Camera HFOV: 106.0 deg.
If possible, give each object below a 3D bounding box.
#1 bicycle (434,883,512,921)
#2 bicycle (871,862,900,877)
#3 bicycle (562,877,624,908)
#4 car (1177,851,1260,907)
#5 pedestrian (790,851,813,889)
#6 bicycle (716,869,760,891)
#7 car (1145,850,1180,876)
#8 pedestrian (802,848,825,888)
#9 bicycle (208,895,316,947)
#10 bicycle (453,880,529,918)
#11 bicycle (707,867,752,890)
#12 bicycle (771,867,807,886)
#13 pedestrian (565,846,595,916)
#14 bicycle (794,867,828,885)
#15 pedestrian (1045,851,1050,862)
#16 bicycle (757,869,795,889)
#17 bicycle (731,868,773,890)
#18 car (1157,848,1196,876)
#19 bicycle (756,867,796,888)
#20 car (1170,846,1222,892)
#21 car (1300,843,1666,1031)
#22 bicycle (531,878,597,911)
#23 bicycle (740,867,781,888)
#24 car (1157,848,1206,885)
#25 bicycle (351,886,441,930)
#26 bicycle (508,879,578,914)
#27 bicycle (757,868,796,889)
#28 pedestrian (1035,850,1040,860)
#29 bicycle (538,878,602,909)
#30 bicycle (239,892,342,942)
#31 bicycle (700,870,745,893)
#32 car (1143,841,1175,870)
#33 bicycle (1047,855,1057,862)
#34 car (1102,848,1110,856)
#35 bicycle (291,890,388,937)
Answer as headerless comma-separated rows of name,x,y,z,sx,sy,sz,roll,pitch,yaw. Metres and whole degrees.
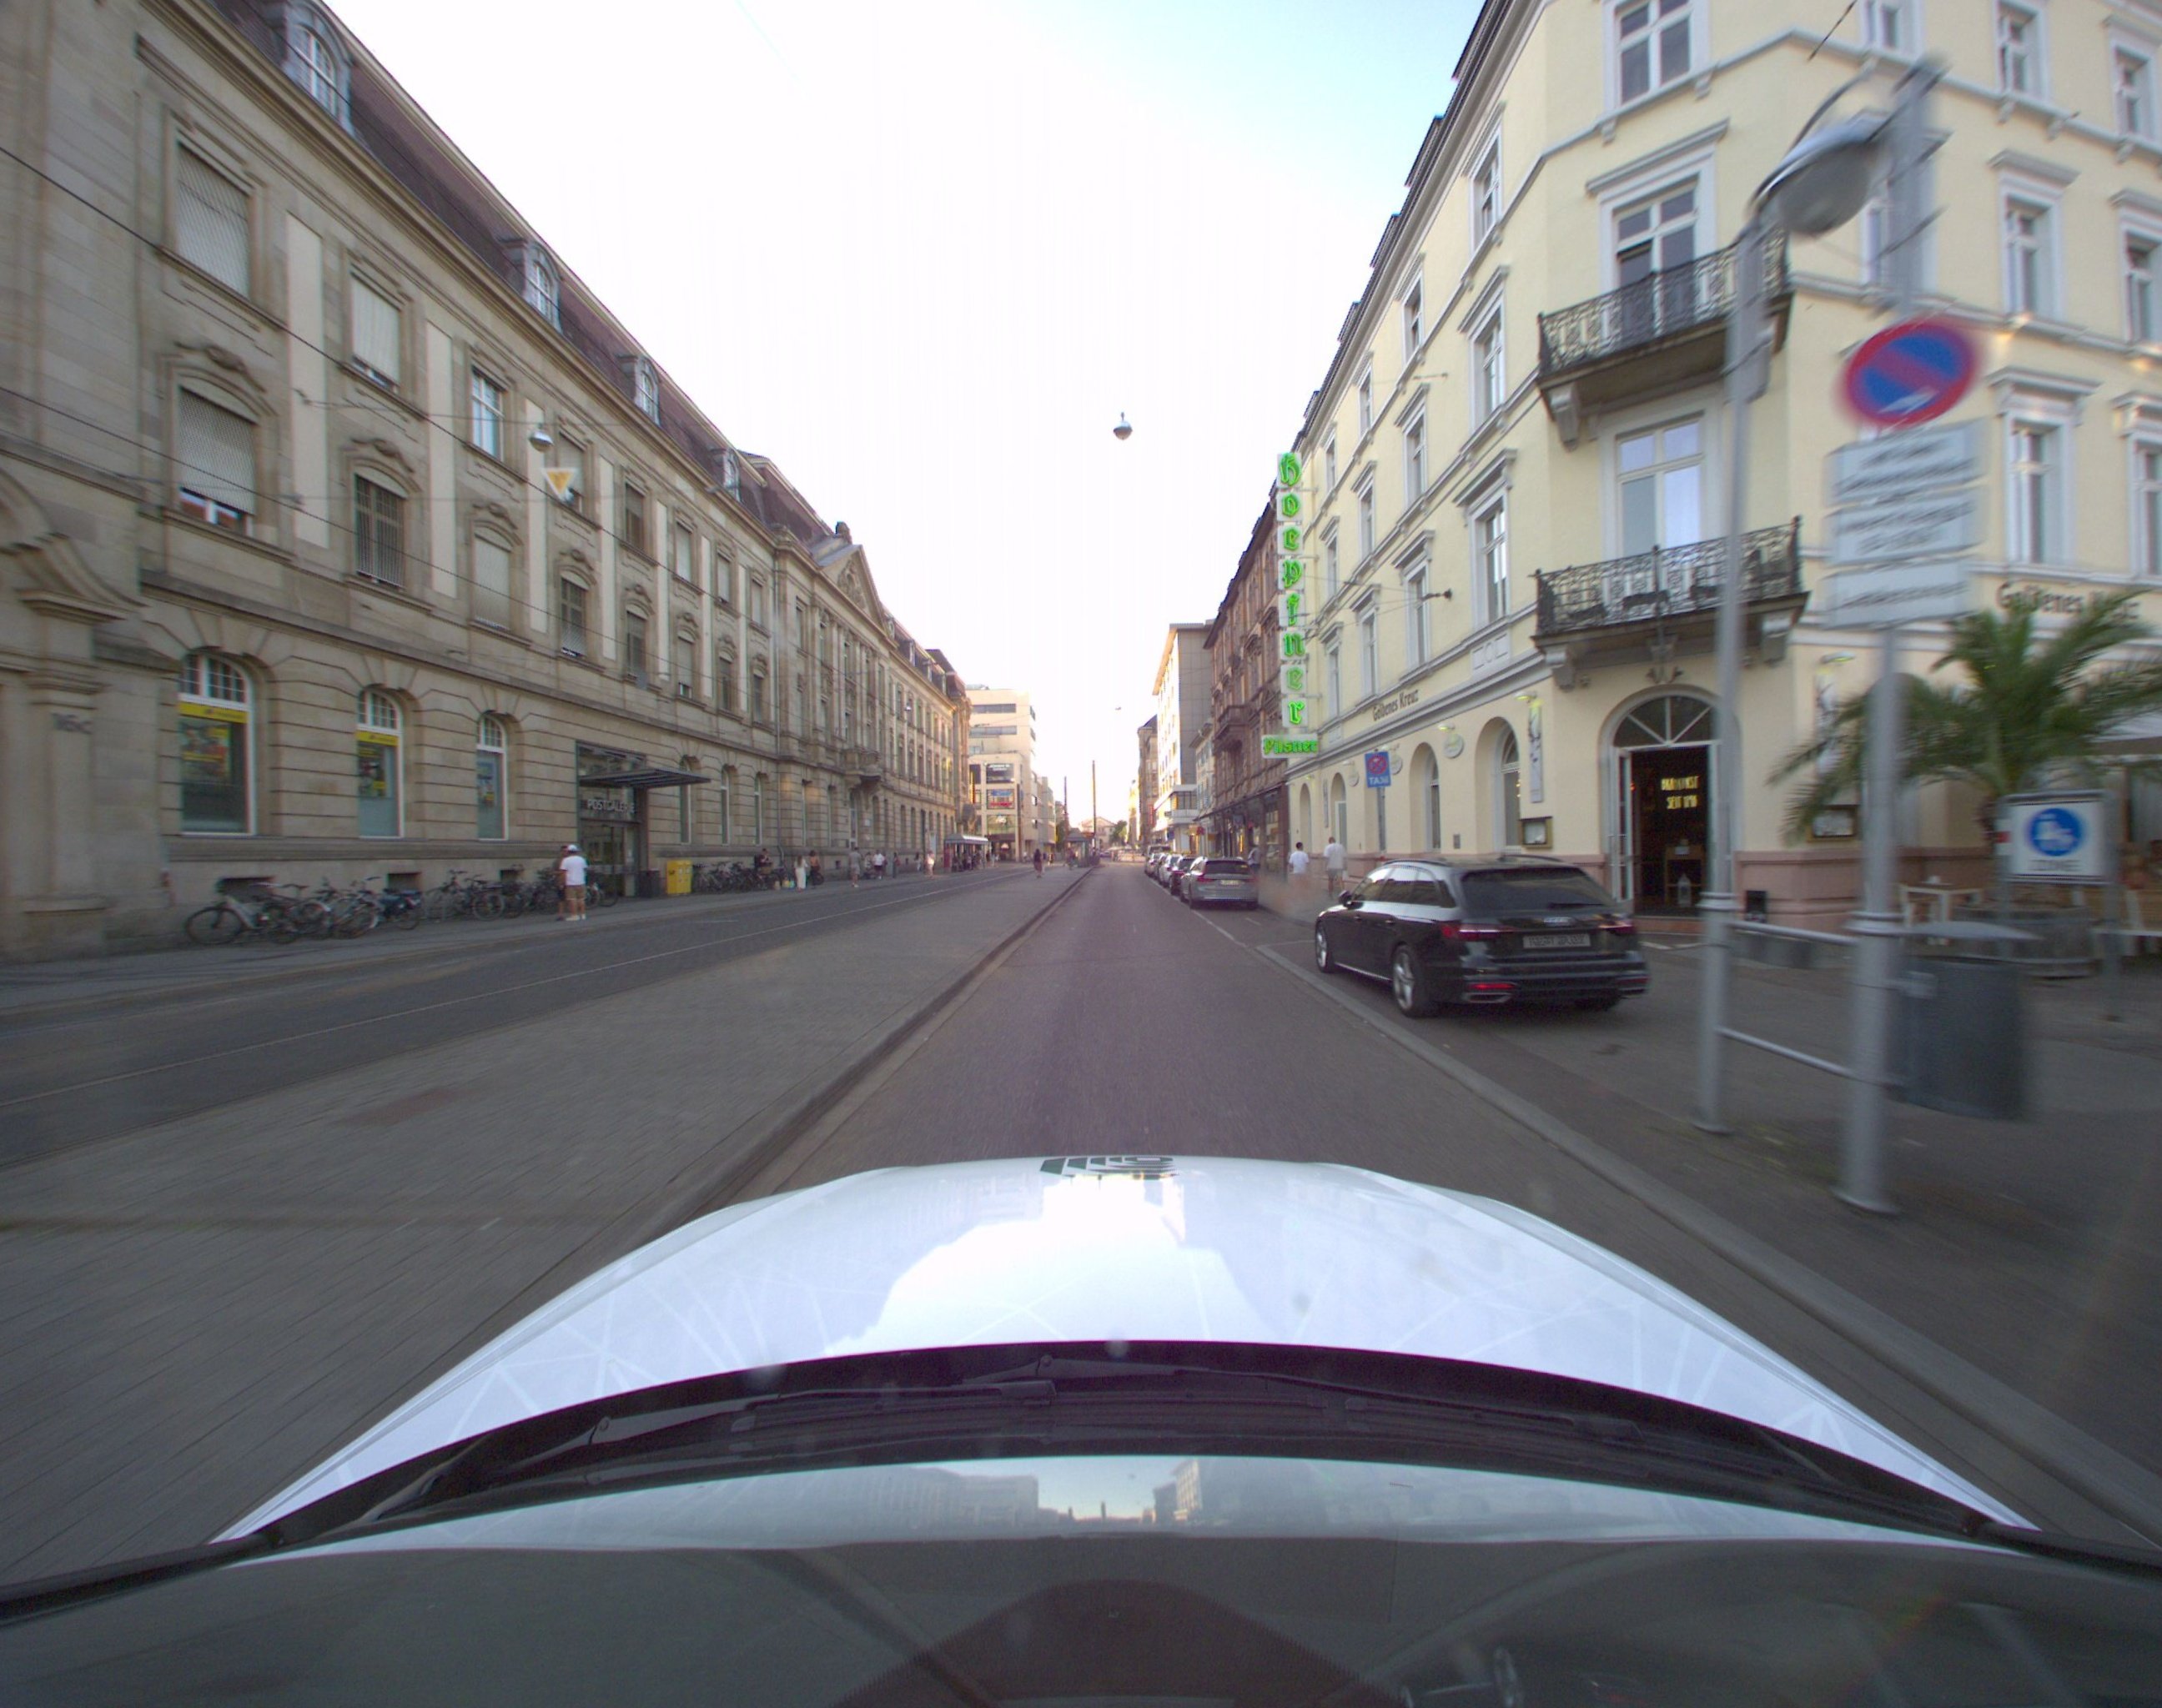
bicycle,-14.192,1.113,19.018,1.567,0.874,0.451,0,-1,6
bicycle,-11.518,0.924,48.047,1.567,0.874,0.451,0,-1,6
bicycle,-14.242,1.115,23.782,1.567,0.874,0.451,0,-1,6
car,3.923,0.649,23.933,1.799,1.475,4.695,0,0,2
pedestrian,-10.975,0.620,31.985,0.690,1.466,0.556,-1,0,1
bicycle,-13.732,1.030,32.607,1.567,0.874,0.451,0,-1,6
car,5.010,0.492,50.329,1.799,1.483,4.780,1,1,2
pedestrian,-11.636,0.597,35.467,0.689,1.712,0.815,-1,0,1
bicycle,-14.493,1.178,14.415,1.567,0.874,0.451,0,-1,6
bicycle,-14.339,1.087,19.803,1.567,0.874,0.451,0,-1,6
bicycle,-13.817,0.970,32.024,1.567,0.874,0.451,0,-1,6
bicycle,-13.836,1.075,38.622,1.567,0.874,0.451,0,-1,6
pedestrian,-11.774,0.628,19.132,0.371,1.631,0.496,-1,-1,42
bicycle,-13.426,1.078,40.486,1.567,0.874,0.451,0,-1,6
pedestrian,-5.520,0.417,133.802,0.779,1.751,0.600,0,-1,-2
bicycle,-13.854,1.130,36.997,1.567,0.874,0.451,0,-1,6
bicycle,-13.623,1.028,33.702,1.567,0.874,0.451,0,-1,6
car,5.230,0.415,44.953,1.720,1.477,4.822,0,0,2
bicycle,-13.120,1.002,35.089,1.567,0.874,0.451,0,-1,6
car,4.296,0.558,30.971,1.724,1.590,4.448,1,0,5
car,3.720,0.655,8.583,1.690,1.390,4.549,-2,0,2
bicycle,-14.057,1.105,22.147,1.567,0.874,0.451,0,-1,6
bicycle,-13.492,1.006,34.335,1.567,0.874,0.451,0,-1,6
car,4.476,0.551,36.925,1.726,1.511,4.867,1,0,2
bicycle,-14.128,1.100,16.798,1.567,0.874,0.451,0,-1,6
bicycle,-13.967,1.099,21.150,1.567,0.874,0.451,0,-1,6
bicycle,-13.394,1.077,35.834,1.567,0.874,0.451,0,-1,6
pedestrian,-7.285,0.110,136.481,0.644,1.674,0.532,-1,0,10
bicycle,-14.476,1.110,23.069,1.567,0.874,0.451,0,-1,6
bicycle,-14.504,1.144,14.955,1.567,0.874,0.451,0,-1,6
bicycle,-13.810,1.041,31.376,1.567,0.874,0.451,0,-1,6
car,5.411,0.096,57.098,1.870,1.923,4.701,1,0,2
bicycle,-5.205,0.787,145.425,1.688,1.122,0.451,0,-1,4
car,6.256,-0.509,202.405,1.986,1.904,4.001,0,0,1
bicycle,-14.443,1.150,15.875,1.567,0.874,0.451,0,-1,6
